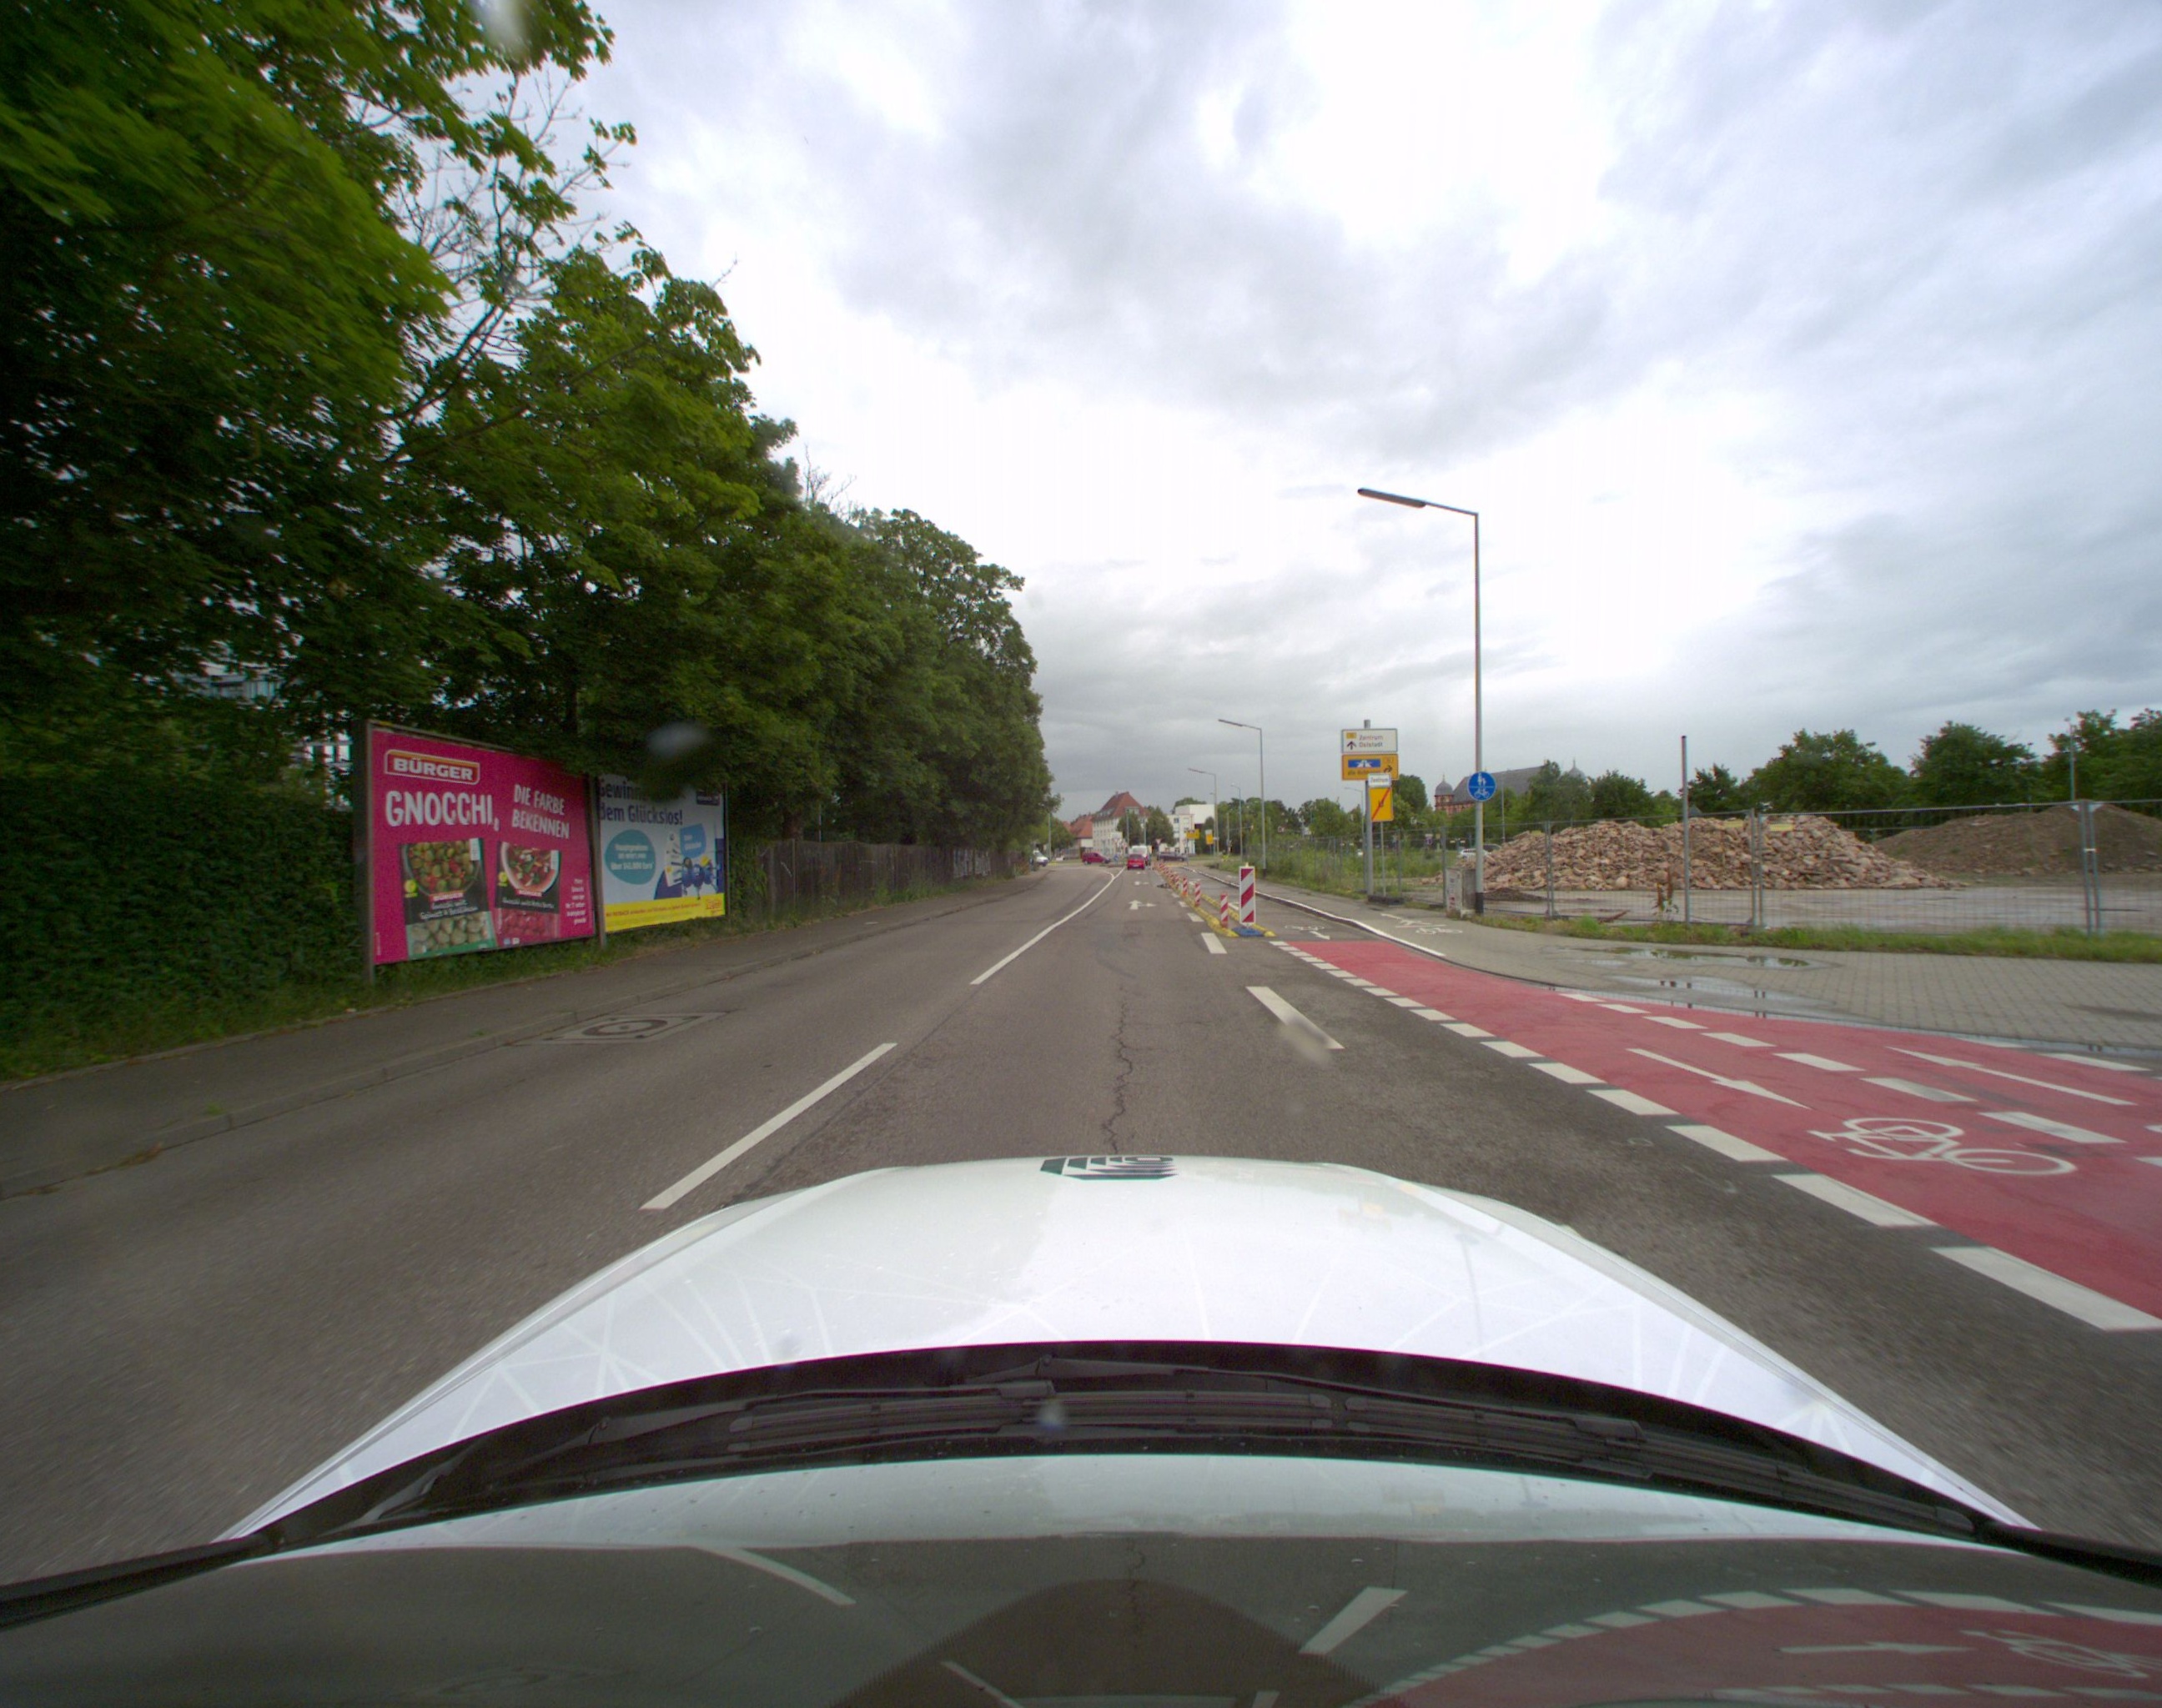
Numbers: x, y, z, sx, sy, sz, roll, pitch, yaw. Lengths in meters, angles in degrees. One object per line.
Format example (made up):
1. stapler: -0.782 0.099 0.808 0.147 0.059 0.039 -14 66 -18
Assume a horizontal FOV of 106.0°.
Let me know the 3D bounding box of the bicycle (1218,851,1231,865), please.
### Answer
1. bicycle: 17.298 0.458 98.398 1.469 1.612 0.607 -1 0 6

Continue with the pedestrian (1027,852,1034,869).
1. pedestrian: -4.613 0.559 74.242 0.610 1.529 0.724 -1 0 0

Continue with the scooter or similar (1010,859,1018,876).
1. scooter or similar: -4.702 0.955 57.348 0.421 1.170 1.303 -1 0 -1

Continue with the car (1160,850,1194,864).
1. car: 13.833 0.424 117.452 2.128 1.795 4.552 -1 0 -43

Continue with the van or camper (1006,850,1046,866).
1. van or camper: -7.849 0.559 116.322 5.482 2.115 2.012 -2 0 29

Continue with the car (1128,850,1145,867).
1. car: 5.441 0.428 79.641 1.666 1.640 3.631 0 0 4

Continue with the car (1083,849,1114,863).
1. car: 2.544 0.317 118.576 4.163 1.917 2.124 -1 0 15

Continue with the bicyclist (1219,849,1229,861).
1. bicyclist: 17.289 0.104 98.397 1.056 1.401 0.616 -1 0 7

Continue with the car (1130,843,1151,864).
1. car: 7.533 -0.050 103.127 2.181 2.540 4.976 0 0 10
